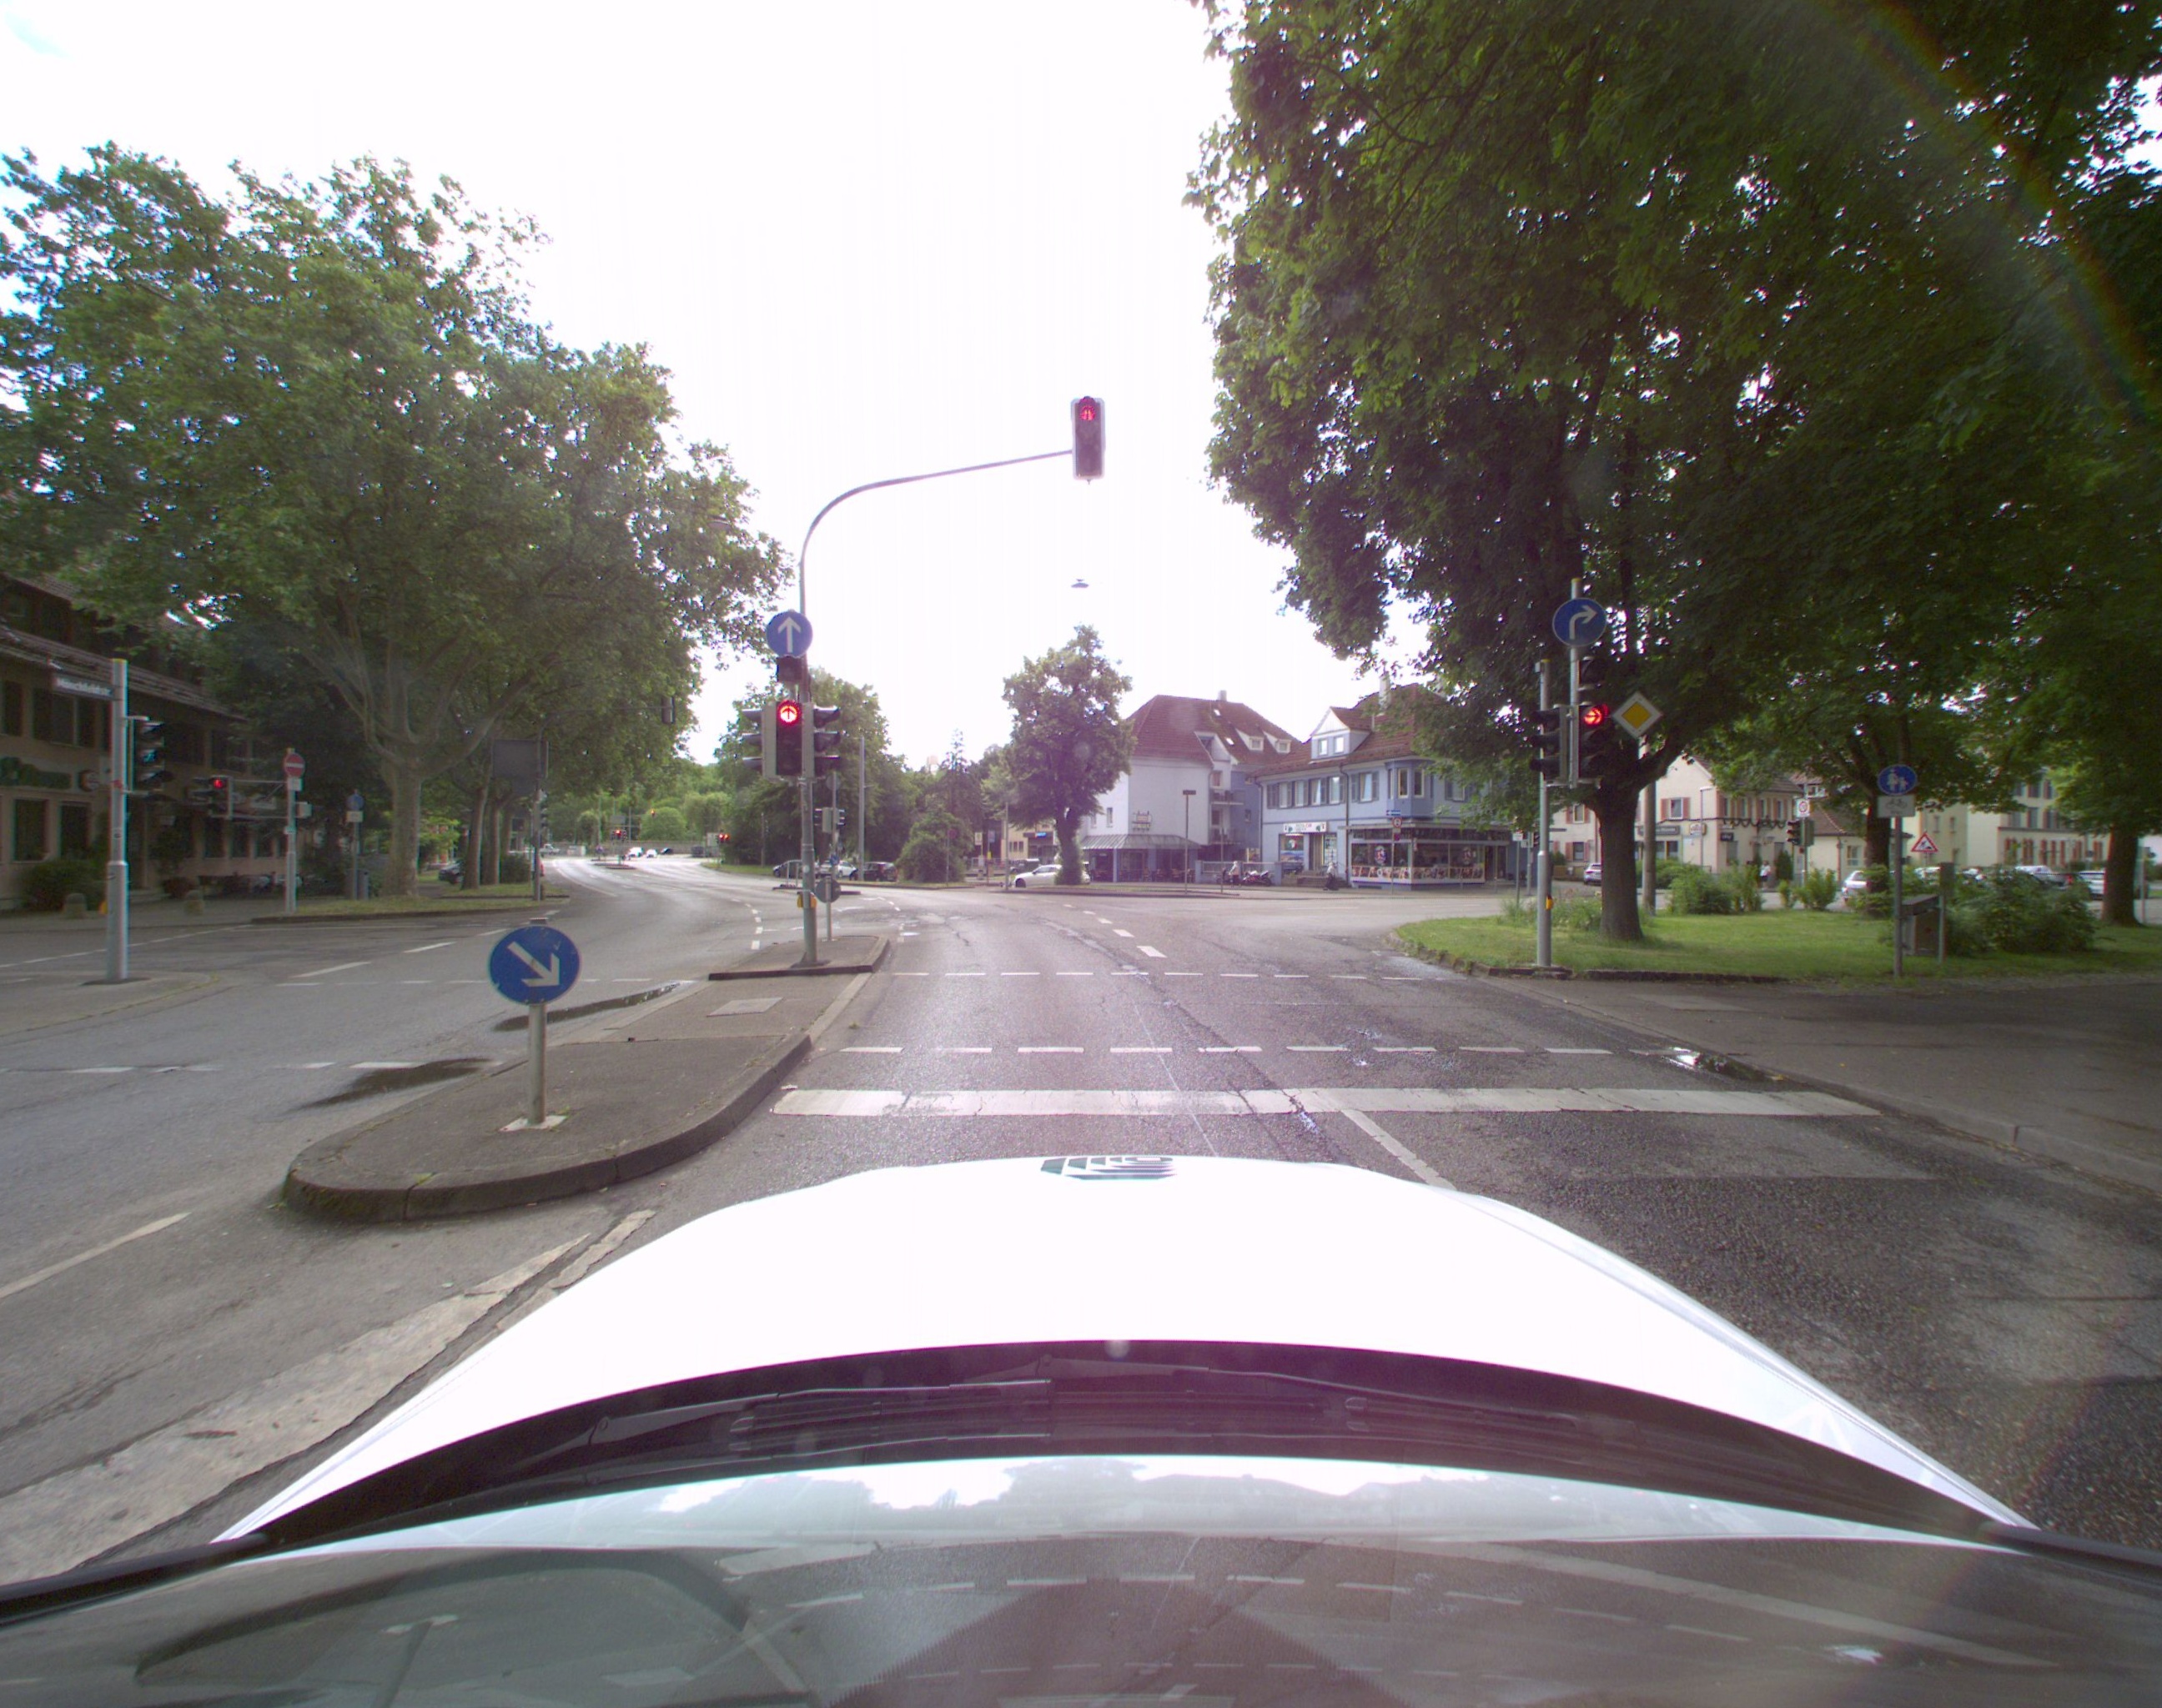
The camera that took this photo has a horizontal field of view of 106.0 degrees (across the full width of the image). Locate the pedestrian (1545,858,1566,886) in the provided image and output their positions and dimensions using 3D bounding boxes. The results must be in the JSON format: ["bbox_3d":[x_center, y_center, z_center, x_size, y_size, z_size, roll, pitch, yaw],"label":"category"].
[{"bbox_3d":[26.498,0.988,45.493,0.671,1.560,0.743,0,-1,-13],"label":"pedestrian"}]

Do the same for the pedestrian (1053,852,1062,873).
[{"bbox_3d":[-1.696,0.619,59.390,0.538,1.560,0.470,-1,-1,15],"label":"pedestrian"}]

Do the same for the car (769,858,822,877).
[{"bbox_3d":[-22.587,1.034,64.515,3.742,1.465,1.629,0,0,20],"label":"car"}]

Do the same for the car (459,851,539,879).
[{"bbox_3d":[-36.458,0.687,51.176,4.015,1.684,1.979,0,-1,-34],"label":"car"}]

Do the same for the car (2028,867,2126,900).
[{"bbox_3d":[47.081,1.371,38.513,3.731,1.457,1.640,0,0,-17],"label":"car"}]

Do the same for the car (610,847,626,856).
[{"bbox_3d":[-86.958,-0.455,152.936,3.293,1.486,1.594,-1,-2,43],"label":"car"}]

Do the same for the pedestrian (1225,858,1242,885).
[{"bbox_3d":[8.956,1.049,47.832,0.724,1.560,0.773,-1,-1,33],"label":"pedestrian"}]

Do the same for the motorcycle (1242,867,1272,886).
[{"bbox_3d":[10.429,1.322,48.242,1.609,1.088,0.631,-1,-1,34],"label":"motorcycle"}]

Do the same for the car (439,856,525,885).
[{"bbox_3d":[-35.628,0.962,48.607,4.015,1.684,1.979,0,-1,-34],"label":"car"}]

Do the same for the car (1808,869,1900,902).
[{"bbox_3d":[31.754,1.276,33.462,3.007,1.267,1.455,0,-1,-17],"label":"car"}]

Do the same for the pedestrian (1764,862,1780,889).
[{"bbox_3d":[40.208,1.225,47.394,0.504,1.560,0.507,0,-1,-13],"label":"pedestrian"}]

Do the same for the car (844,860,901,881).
[{"bbox_3d":[-13.824,1.060,54.000,3.285,1.352,1.791,0,0,29],"label":"car"}]

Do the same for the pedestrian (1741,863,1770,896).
[{"bbox_3d":[22.011,0.822,26.586,0.505,1.081,0.514,0,-1,-13],"label":"pedestrian"}]

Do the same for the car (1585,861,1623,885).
[{"bbox_3d":[32.460,1.143,50.617,1.866,1.391,3.637,0,0,31],"label":"car"}]

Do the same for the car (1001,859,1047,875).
[{"bbox_3d":[-5.317,1.242,75.916,3.948,1.442,1.742,0,-1,-18],"label":"car"}]

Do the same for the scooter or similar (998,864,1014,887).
[{"bbox_3d":[-3.951,1.143,42.844,0.439,1.175,1.442,-1,-1,11],"label":"scooter or similar"}]

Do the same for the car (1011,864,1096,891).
[{"bbox_3d":[-1.593,1.289,45.931,4.654,1.410,1.914,0,-1,37],"label":"car"}]

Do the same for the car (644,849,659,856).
[{"bbox_3d":[-83.047,-0.268,157.448,2.988,1.417,1.509,-1,-2,42],"label":"car"}]

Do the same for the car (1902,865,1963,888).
[{"bbox_3d":[55.389,1.433,52.970,3.871,1.447,1.753,0,-1,-28],"label":"car"}]

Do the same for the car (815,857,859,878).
[{"bbox_3d":[-20.132,1.093,67.406,1.848,1.640,3.768,0,0,13],"label":"car"}]

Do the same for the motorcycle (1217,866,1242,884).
[{"bbox_3d":[9.136,1.312,50.045,1.441,1.088,0.527,-1,-1,37],"label":"motorcycle"}]

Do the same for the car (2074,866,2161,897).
[{"bbox_3d":[52.597,1.370,41.250,3.731,1.457,1.640,0,0,-17],"label":"car"}]

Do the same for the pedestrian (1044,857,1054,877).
[{"bbox_3d":[-3.194,1.306,80.934,0.838,2.014,1.051,0,-1,-12],"label":"pedestrian"}]

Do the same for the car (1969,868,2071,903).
[{"bbox_3d":[42.347,1.380,36.750,3.731,1.457,1.640,0,0,-17],"label":"car"}]

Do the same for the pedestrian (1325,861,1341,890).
[{"bbox_3d":[13.656,1.153,44.113,0.687,1.560,0.671,-1,-1,33],"label":"pedestrian"}]
